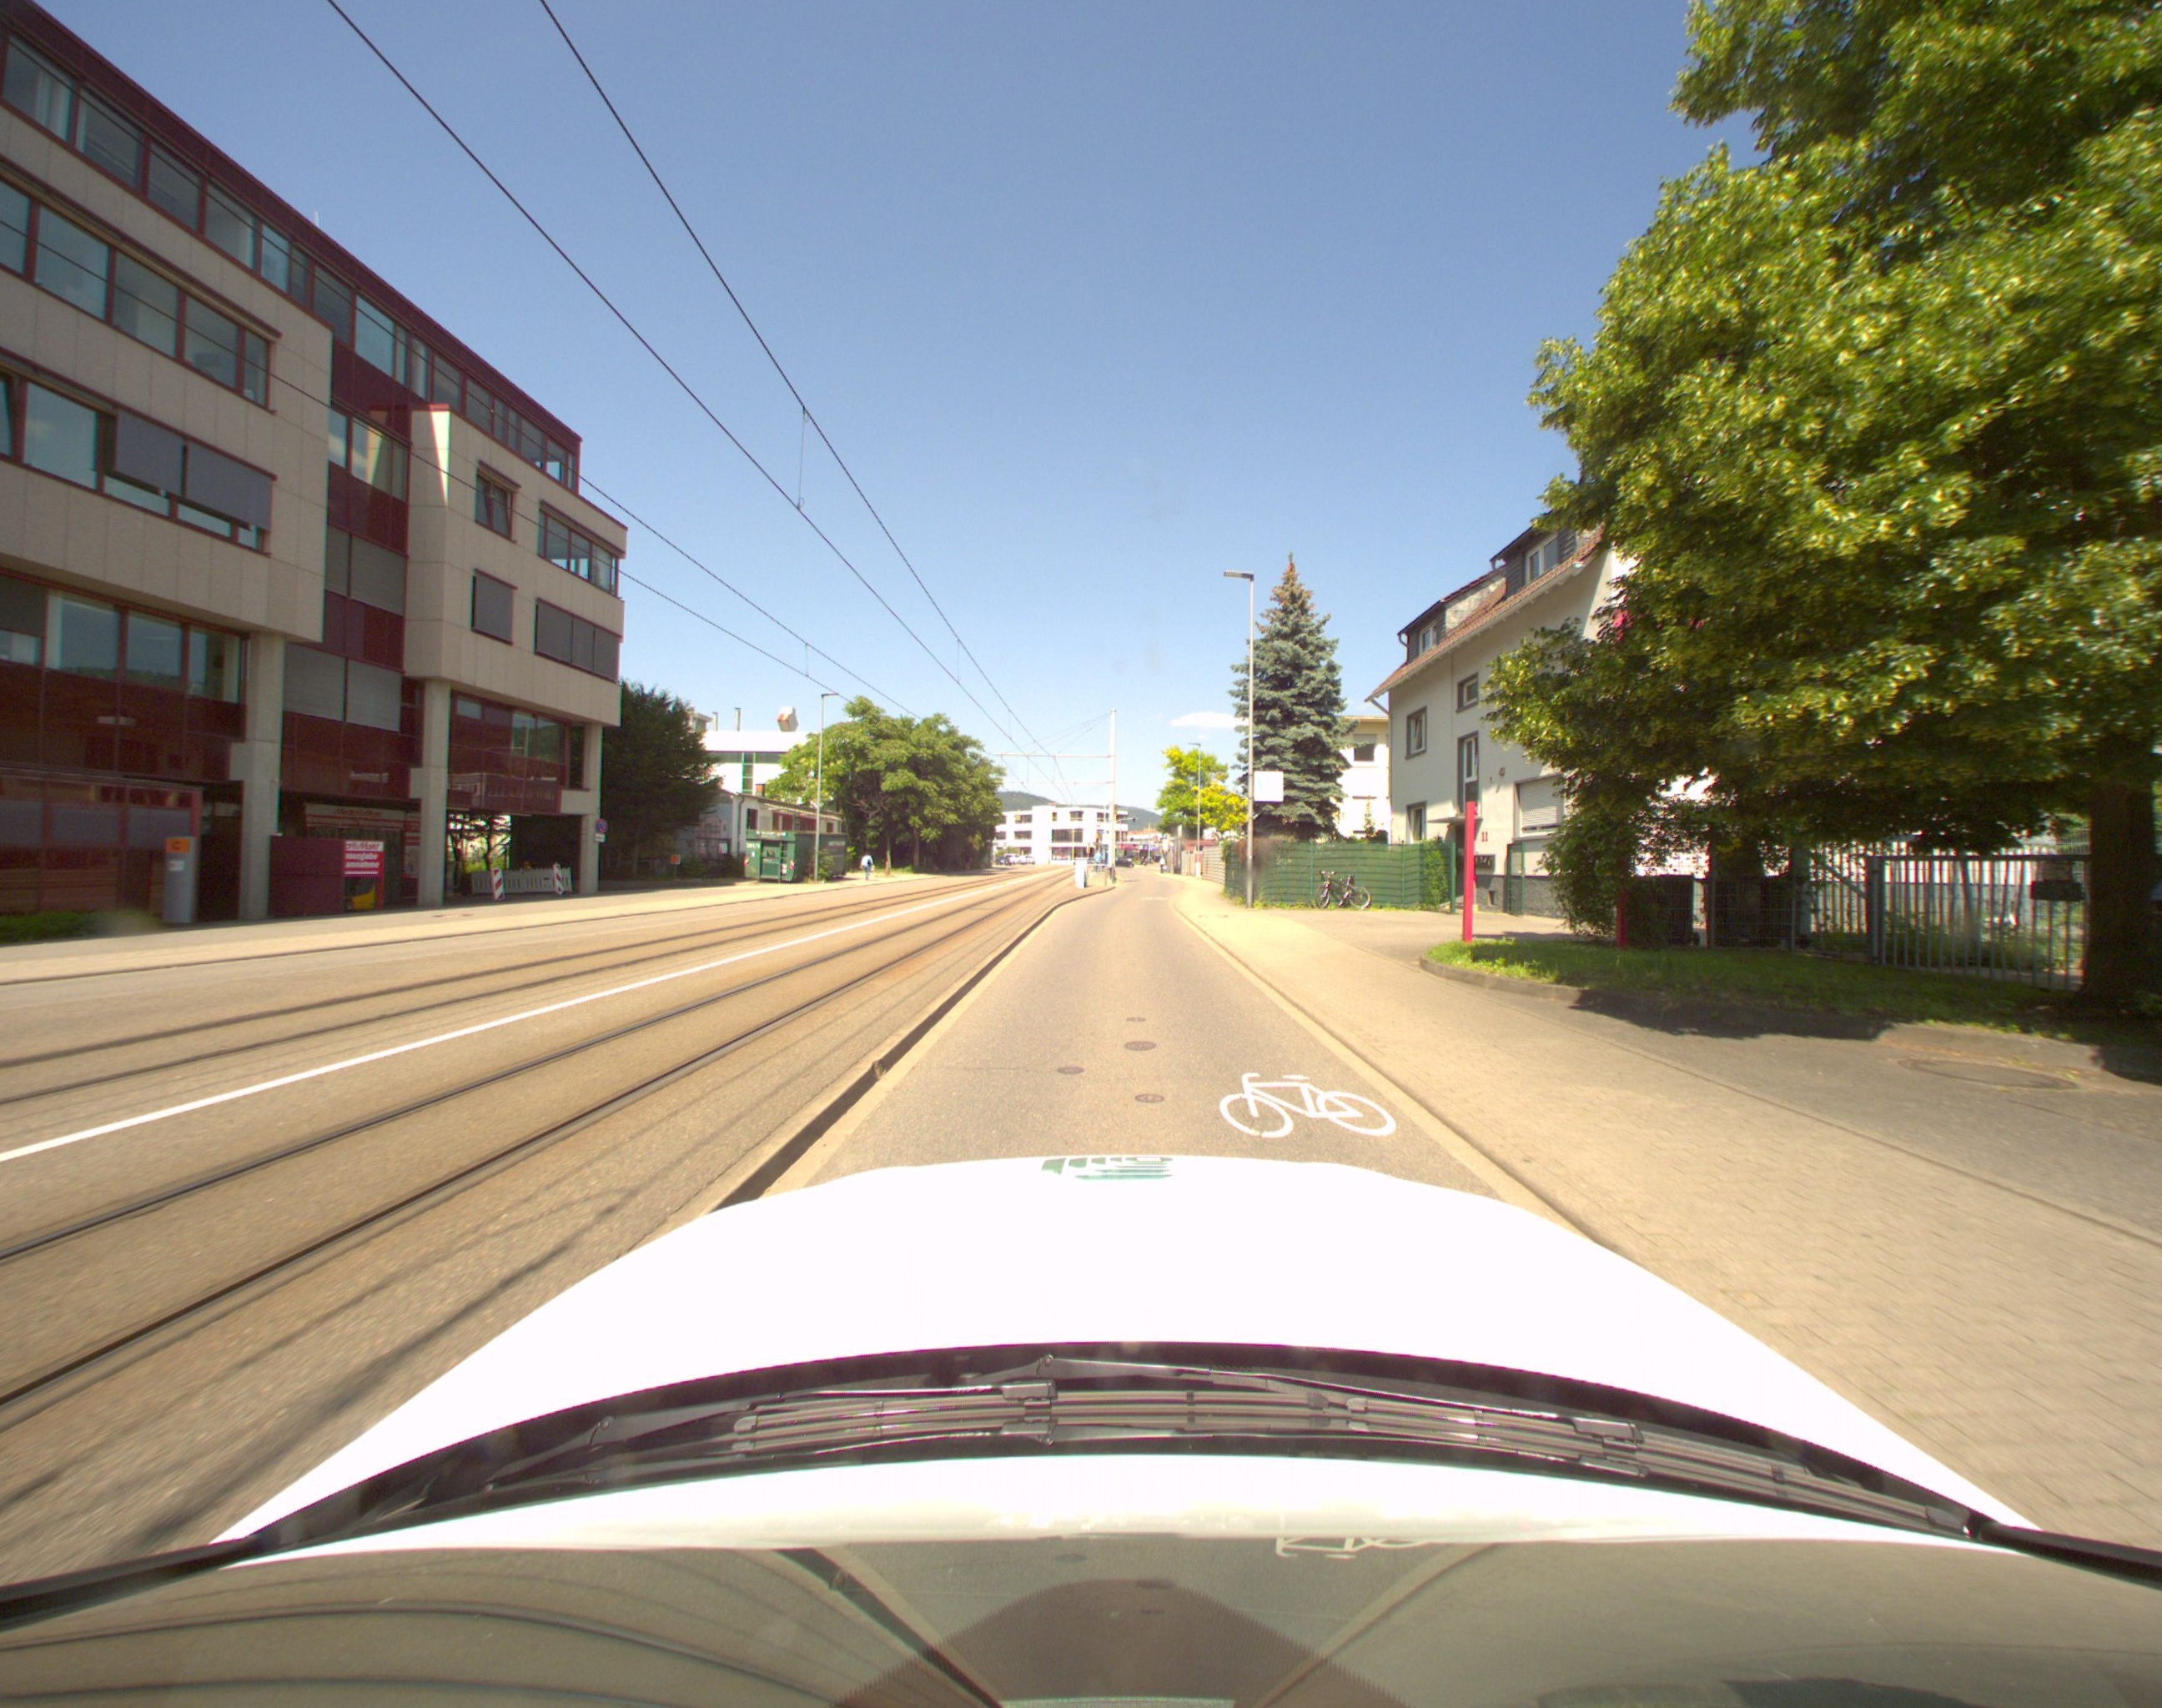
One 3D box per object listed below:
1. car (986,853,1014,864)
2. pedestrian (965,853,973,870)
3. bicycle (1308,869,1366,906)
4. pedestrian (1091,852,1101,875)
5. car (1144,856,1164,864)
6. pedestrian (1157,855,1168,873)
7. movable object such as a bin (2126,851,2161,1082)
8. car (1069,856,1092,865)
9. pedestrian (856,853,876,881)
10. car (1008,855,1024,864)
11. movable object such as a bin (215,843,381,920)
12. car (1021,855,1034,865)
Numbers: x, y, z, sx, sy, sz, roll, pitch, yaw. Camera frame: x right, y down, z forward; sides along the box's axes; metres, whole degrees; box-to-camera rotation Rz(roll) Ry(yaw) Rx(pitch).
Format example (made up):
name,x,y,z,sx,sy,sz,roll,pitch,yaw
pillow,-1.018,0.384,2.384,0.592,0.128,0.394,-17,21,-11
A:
name,x,y,z,sx,sy,sz,roll,pitch,yaw
car,-12.326,0.670,124.156,3.948,1.552,1.803,0,0,34
pedestrian,-10.176,0.720,73.792,0.581,1.537,0.657,0,0,1
bicycle,6.946,0.910,22.131,1.466,0.991,0.388,0,-4,1
pedestrian,1.113,0.689,60.203,0.740,1.740,0.727,0,0,1
car,14.987,1.172,166.833,4.022,1.662,1.843,0,0,-43
pedestrian,8.270,1.041,82.583,0.936,1.787,0.953,1,1,1
movable object such as a bin,7.214,0.688,4.550,1.371,1.430,0.996,0,-2,27
car,-0.078,1.130,145.226,3.894,1.680,1.725,0,0,-10
pedestrian,-11.861,0.735,44.987,0.831,1.537,0.838,0,0,1
car,-12.199,1.016,152.611,1.936,1.647,3.731,0,0,-24
movable object such as a bin,-21.973,0.729,23.027,1.995,2.014,3.070,0,-1,-11
car,-9.167,1.022,139.704,1.756,1.647,3.748,0,0,-11
